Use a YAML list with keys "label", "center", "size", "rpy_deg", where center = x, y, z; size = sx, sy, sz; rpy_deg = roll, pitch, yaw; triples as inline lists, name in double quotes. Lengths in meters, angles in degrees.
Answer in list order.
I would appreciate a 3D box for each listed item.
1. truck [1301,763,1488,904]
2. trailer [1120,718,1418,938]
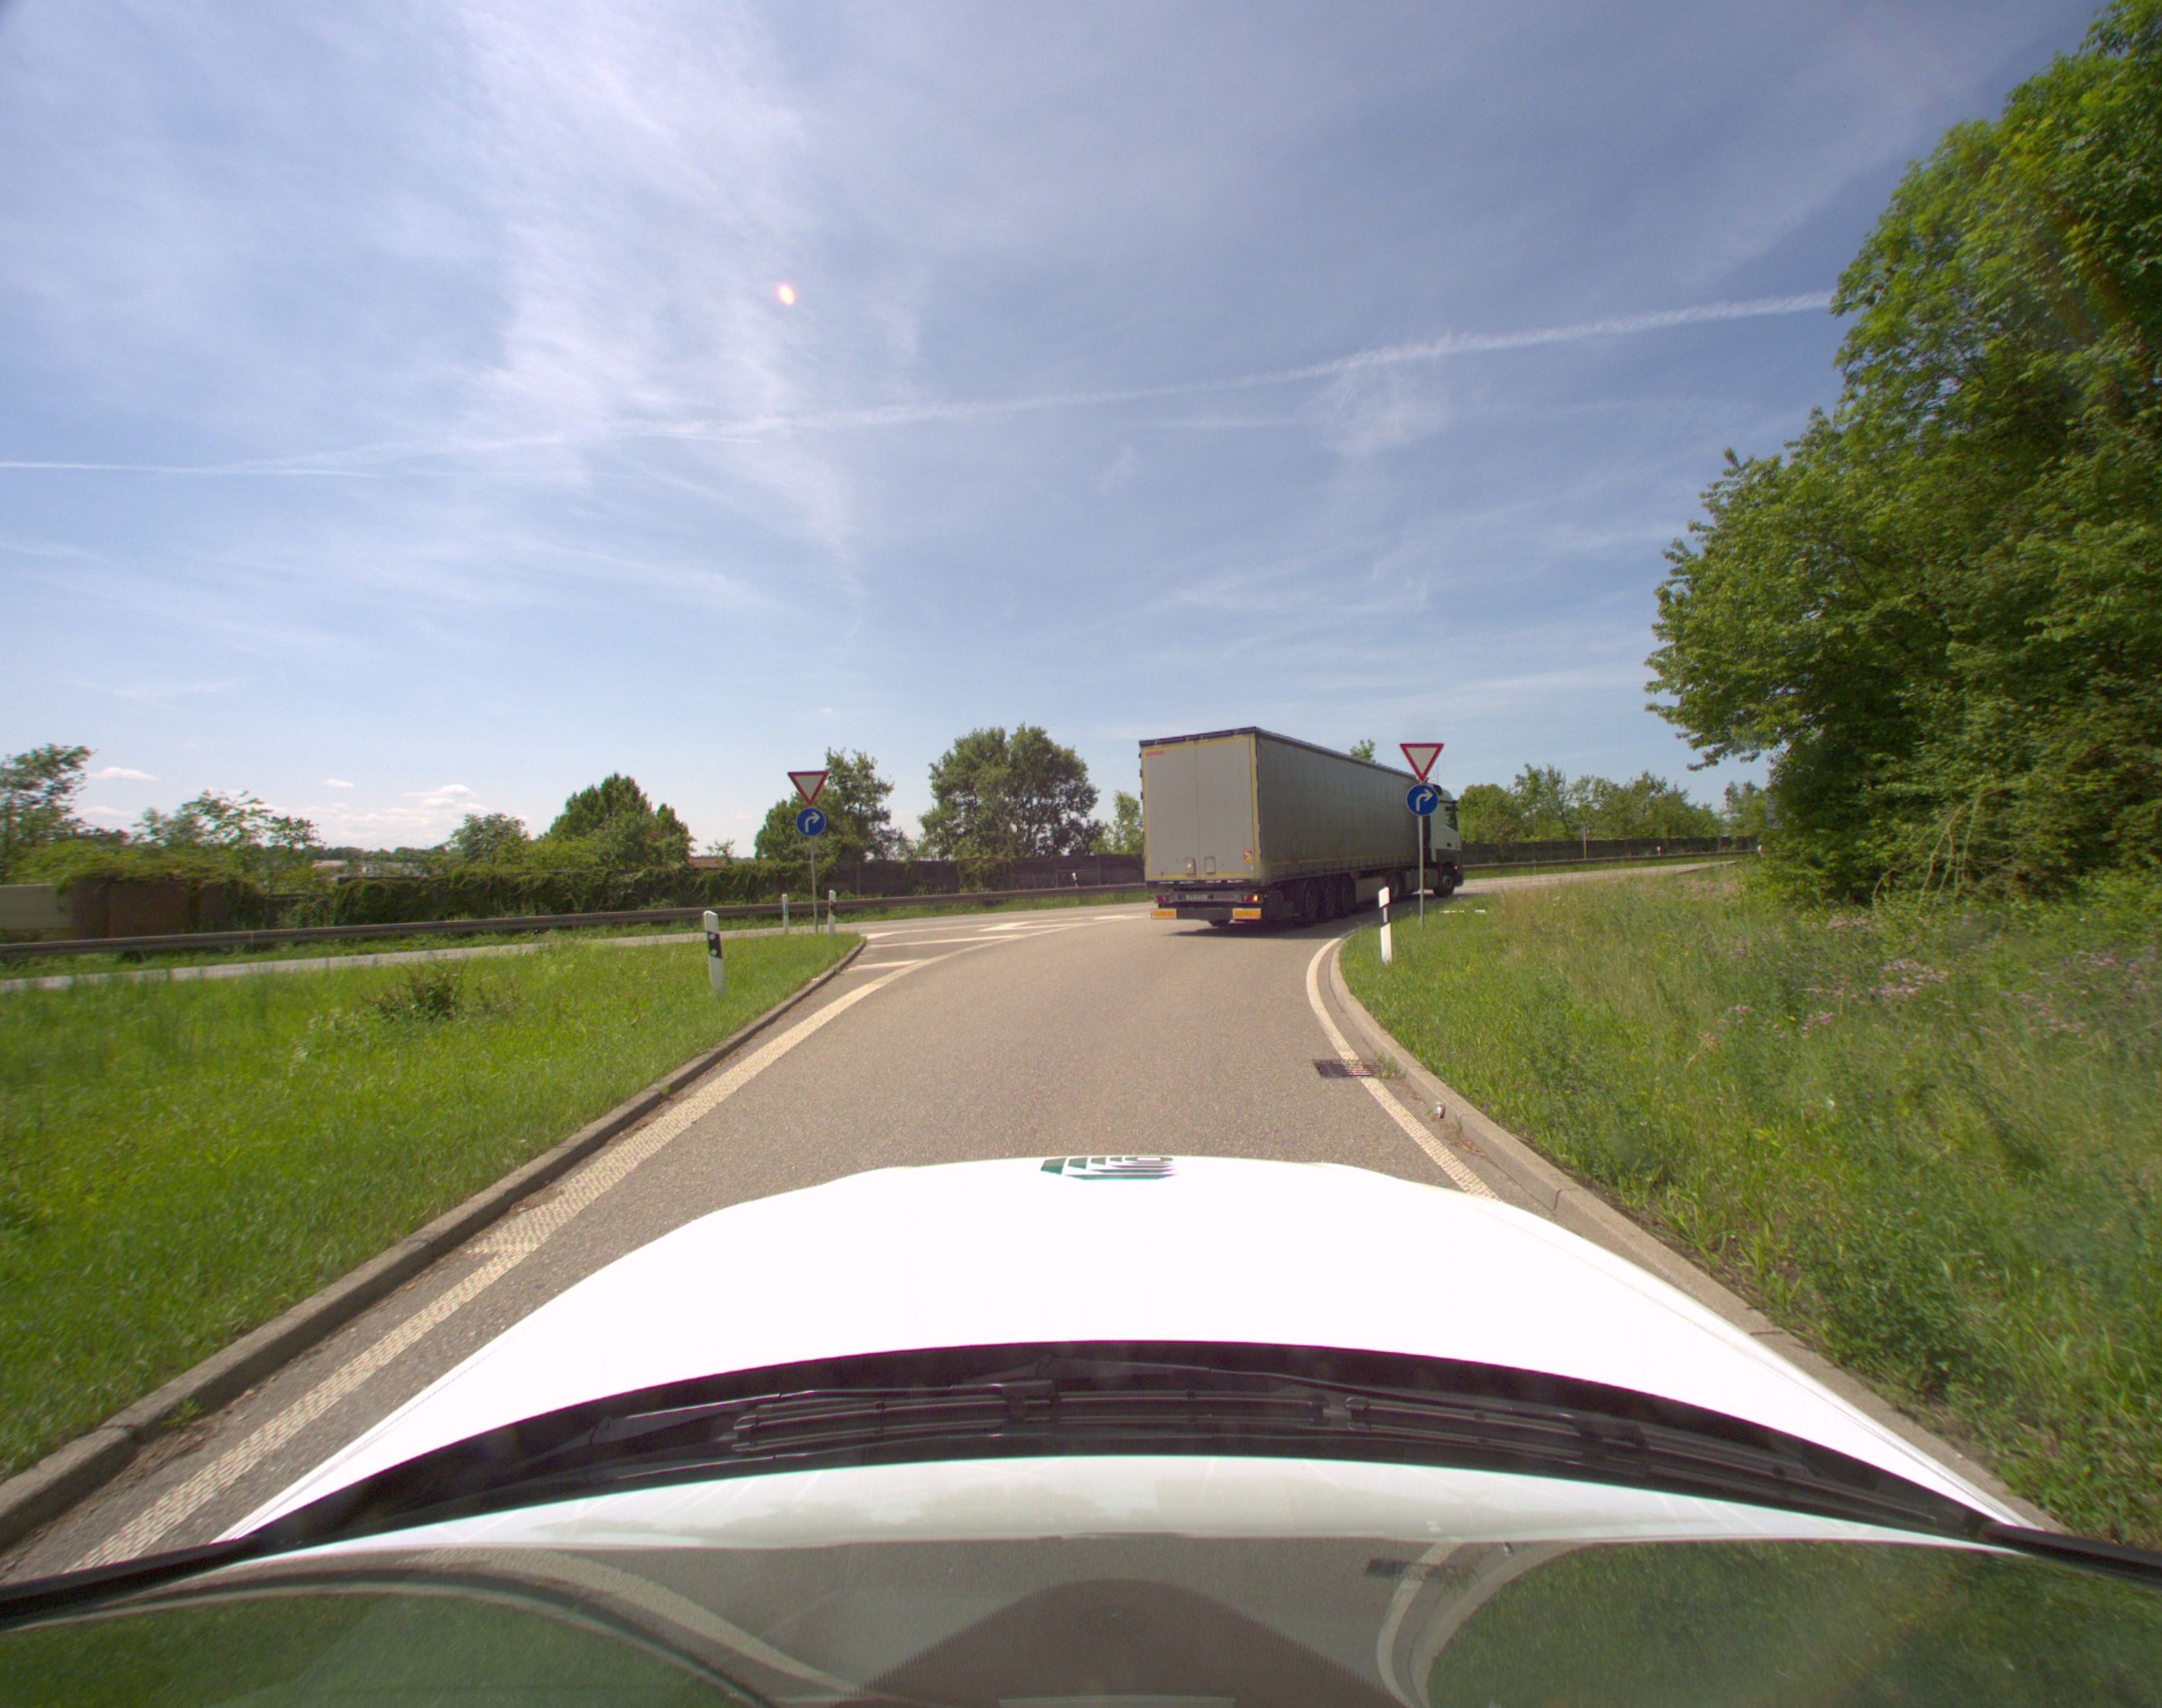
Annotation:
- label: "truck"
  center: [10.908, -0.622, 27.935]
  size: [7.163, 4.224, 3.124]
  rpy_deg: [-1, -1, -44]
- label: "trailer"
  center: [5.797, -0.456, 21.348]
  size: [2.997, 4.035, 13.437]
  rpy_deg: [-2, -1, 33]
